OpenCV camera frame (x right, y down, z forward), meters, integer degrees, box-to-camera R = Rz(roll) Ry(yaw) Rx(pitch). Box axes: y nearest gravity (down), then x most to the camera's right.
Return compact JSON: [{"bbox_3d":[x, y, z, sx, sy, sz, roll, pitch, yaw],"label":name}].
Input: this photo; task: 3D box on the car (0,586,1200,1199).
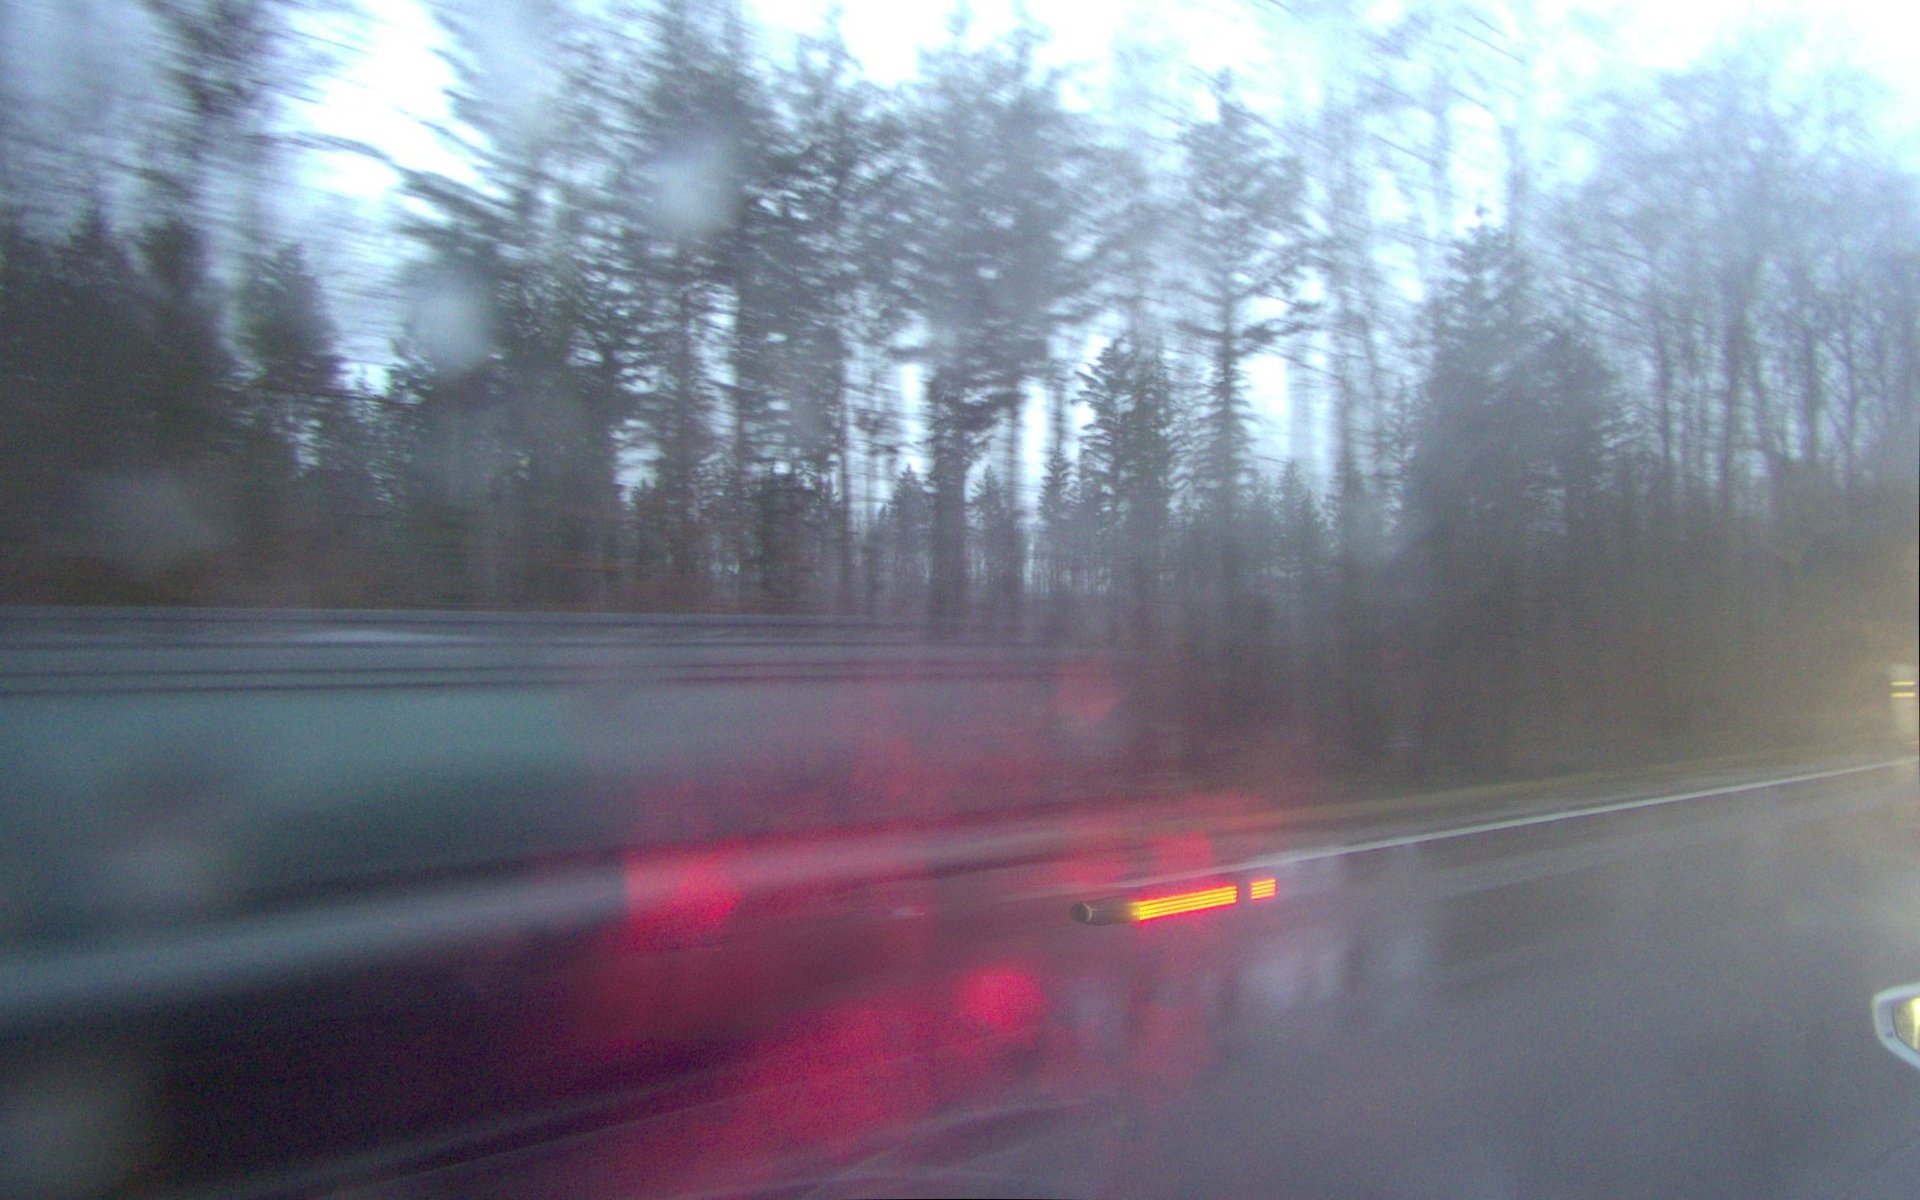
[{"bbox_3d":[-1.631,0.754,2.211,4.127,1.480,1.791,1,-2,-30],"label":"car"}]
